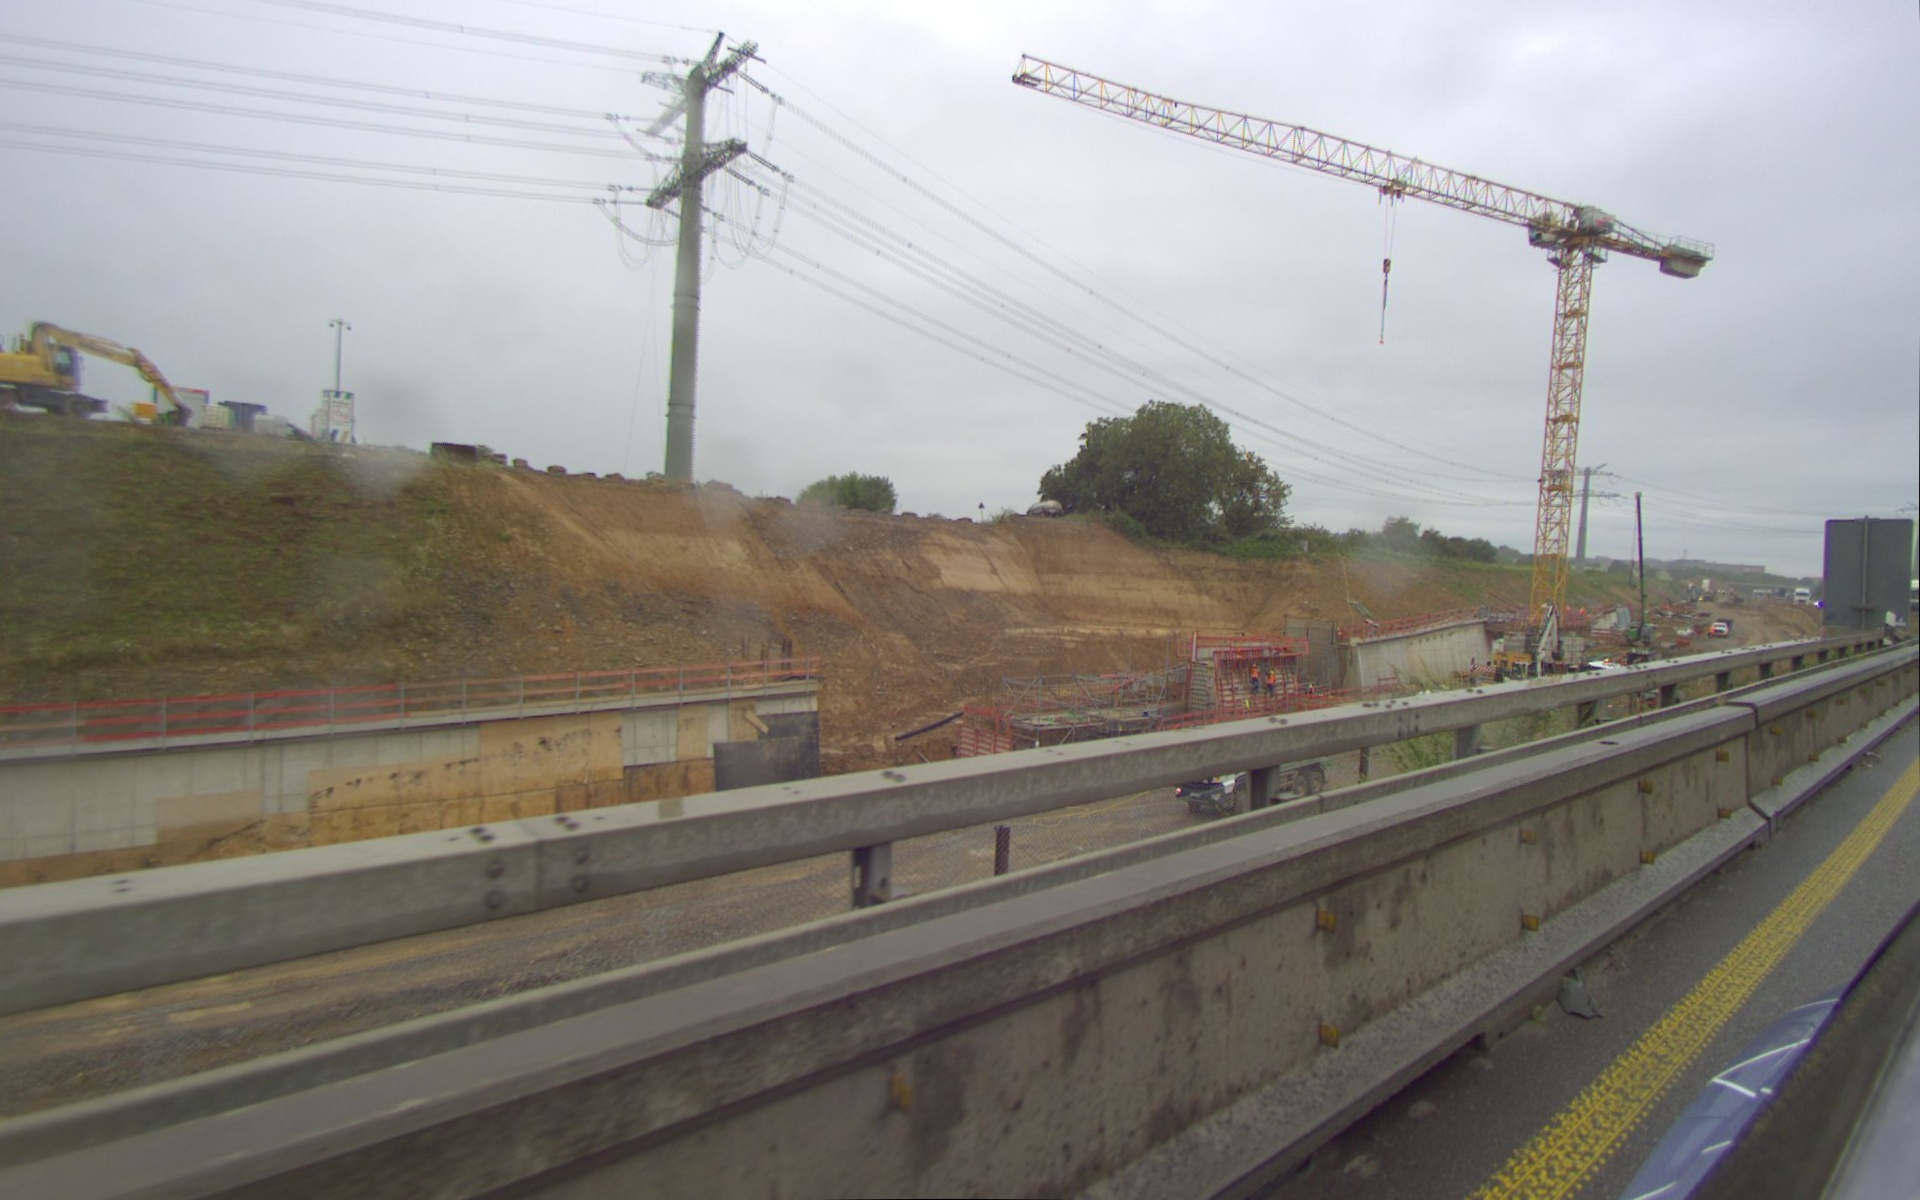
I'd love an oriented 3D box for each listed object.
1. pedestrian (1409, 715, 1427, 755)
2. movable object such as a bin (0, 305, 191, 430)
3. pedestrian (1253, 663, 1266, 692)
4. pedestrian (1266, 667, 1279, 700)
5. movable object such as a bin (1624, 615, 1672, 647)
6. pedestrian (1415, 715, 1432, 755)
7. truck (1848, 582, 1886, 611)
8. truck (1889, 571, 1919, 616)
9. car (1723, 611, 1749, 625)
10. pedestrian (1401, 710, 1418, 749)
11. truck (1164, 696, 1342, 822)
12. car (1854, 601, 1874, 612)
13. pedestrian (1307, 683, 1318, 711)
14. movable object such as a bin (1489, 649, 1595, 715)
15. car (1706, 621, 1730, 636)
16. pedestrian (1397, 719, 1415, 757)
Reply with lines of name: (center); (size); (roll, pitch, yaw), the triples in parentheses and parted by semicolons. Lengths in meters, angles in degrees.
pedestrian: (23.881, 7.036, 52.767); (0.604, 1.928, 0.602); (-1, 3, -45)
movable object such as a bin: (-39.120, -10.208, 44.811); (8.026, 4.258, 3.109); (0, 2, -37)
pedestrian: (19.136, 4.943, 64.728); (0.571, 1.827, 0.489); (-3, -3, -4)
pedestrian: (20.331, 5.428, 65.807); (0.474, 2.127, 0.488); (0, -4, -45)
movable object such as a bin: (77.270, 3.452, 113.634); (3.936, 2.915, 3.498); (-1, 8, -45)
pedestrian: (24.392, 7.100, 53.250); (0.474, 1.928, 0.602); (-1, 3, -45)
truck: (128.376, -0.494, 143.205); (3.537, 3.942, 8.201); (0, 0, 45)
truck: (99.294, -0.678, 104.607); (4.302, 4.399, 13.211); (0, 0, 41)
car: (111.555, 2.574, 145.492); (2.345, 1.638, 4.783); (3, 3, 44)
pedestrian: (24.060, 6.920, 54.148); (0.474, 1.928, 0.602); (-1, 4, -45)
truck: (12.406, 6.408, 42.295); (8.918, 3.655, 2.708); (-2, 4, -42)
car: (117.355, 0.849, 131.389); (1.785, 1.445, 3.936); (0, 0, 45)
pedestrian: (23.901, 6.567, 68.592); (0.474, 1.781, 0.488); (-1, 4, -45)
movable object such as a bin: (37.207, 5.116, 64.643); (6.529, 3.466, 3.519); (-2, 2, -36)
car: (93.062, 3.516, 124.273); (1.855, 1.638, 4.016); (3, 3, 44)
pedestrian: (22.997, 7.109, 52.197); (0.474, 1.790, 0.602); (-1, 5, -45)
